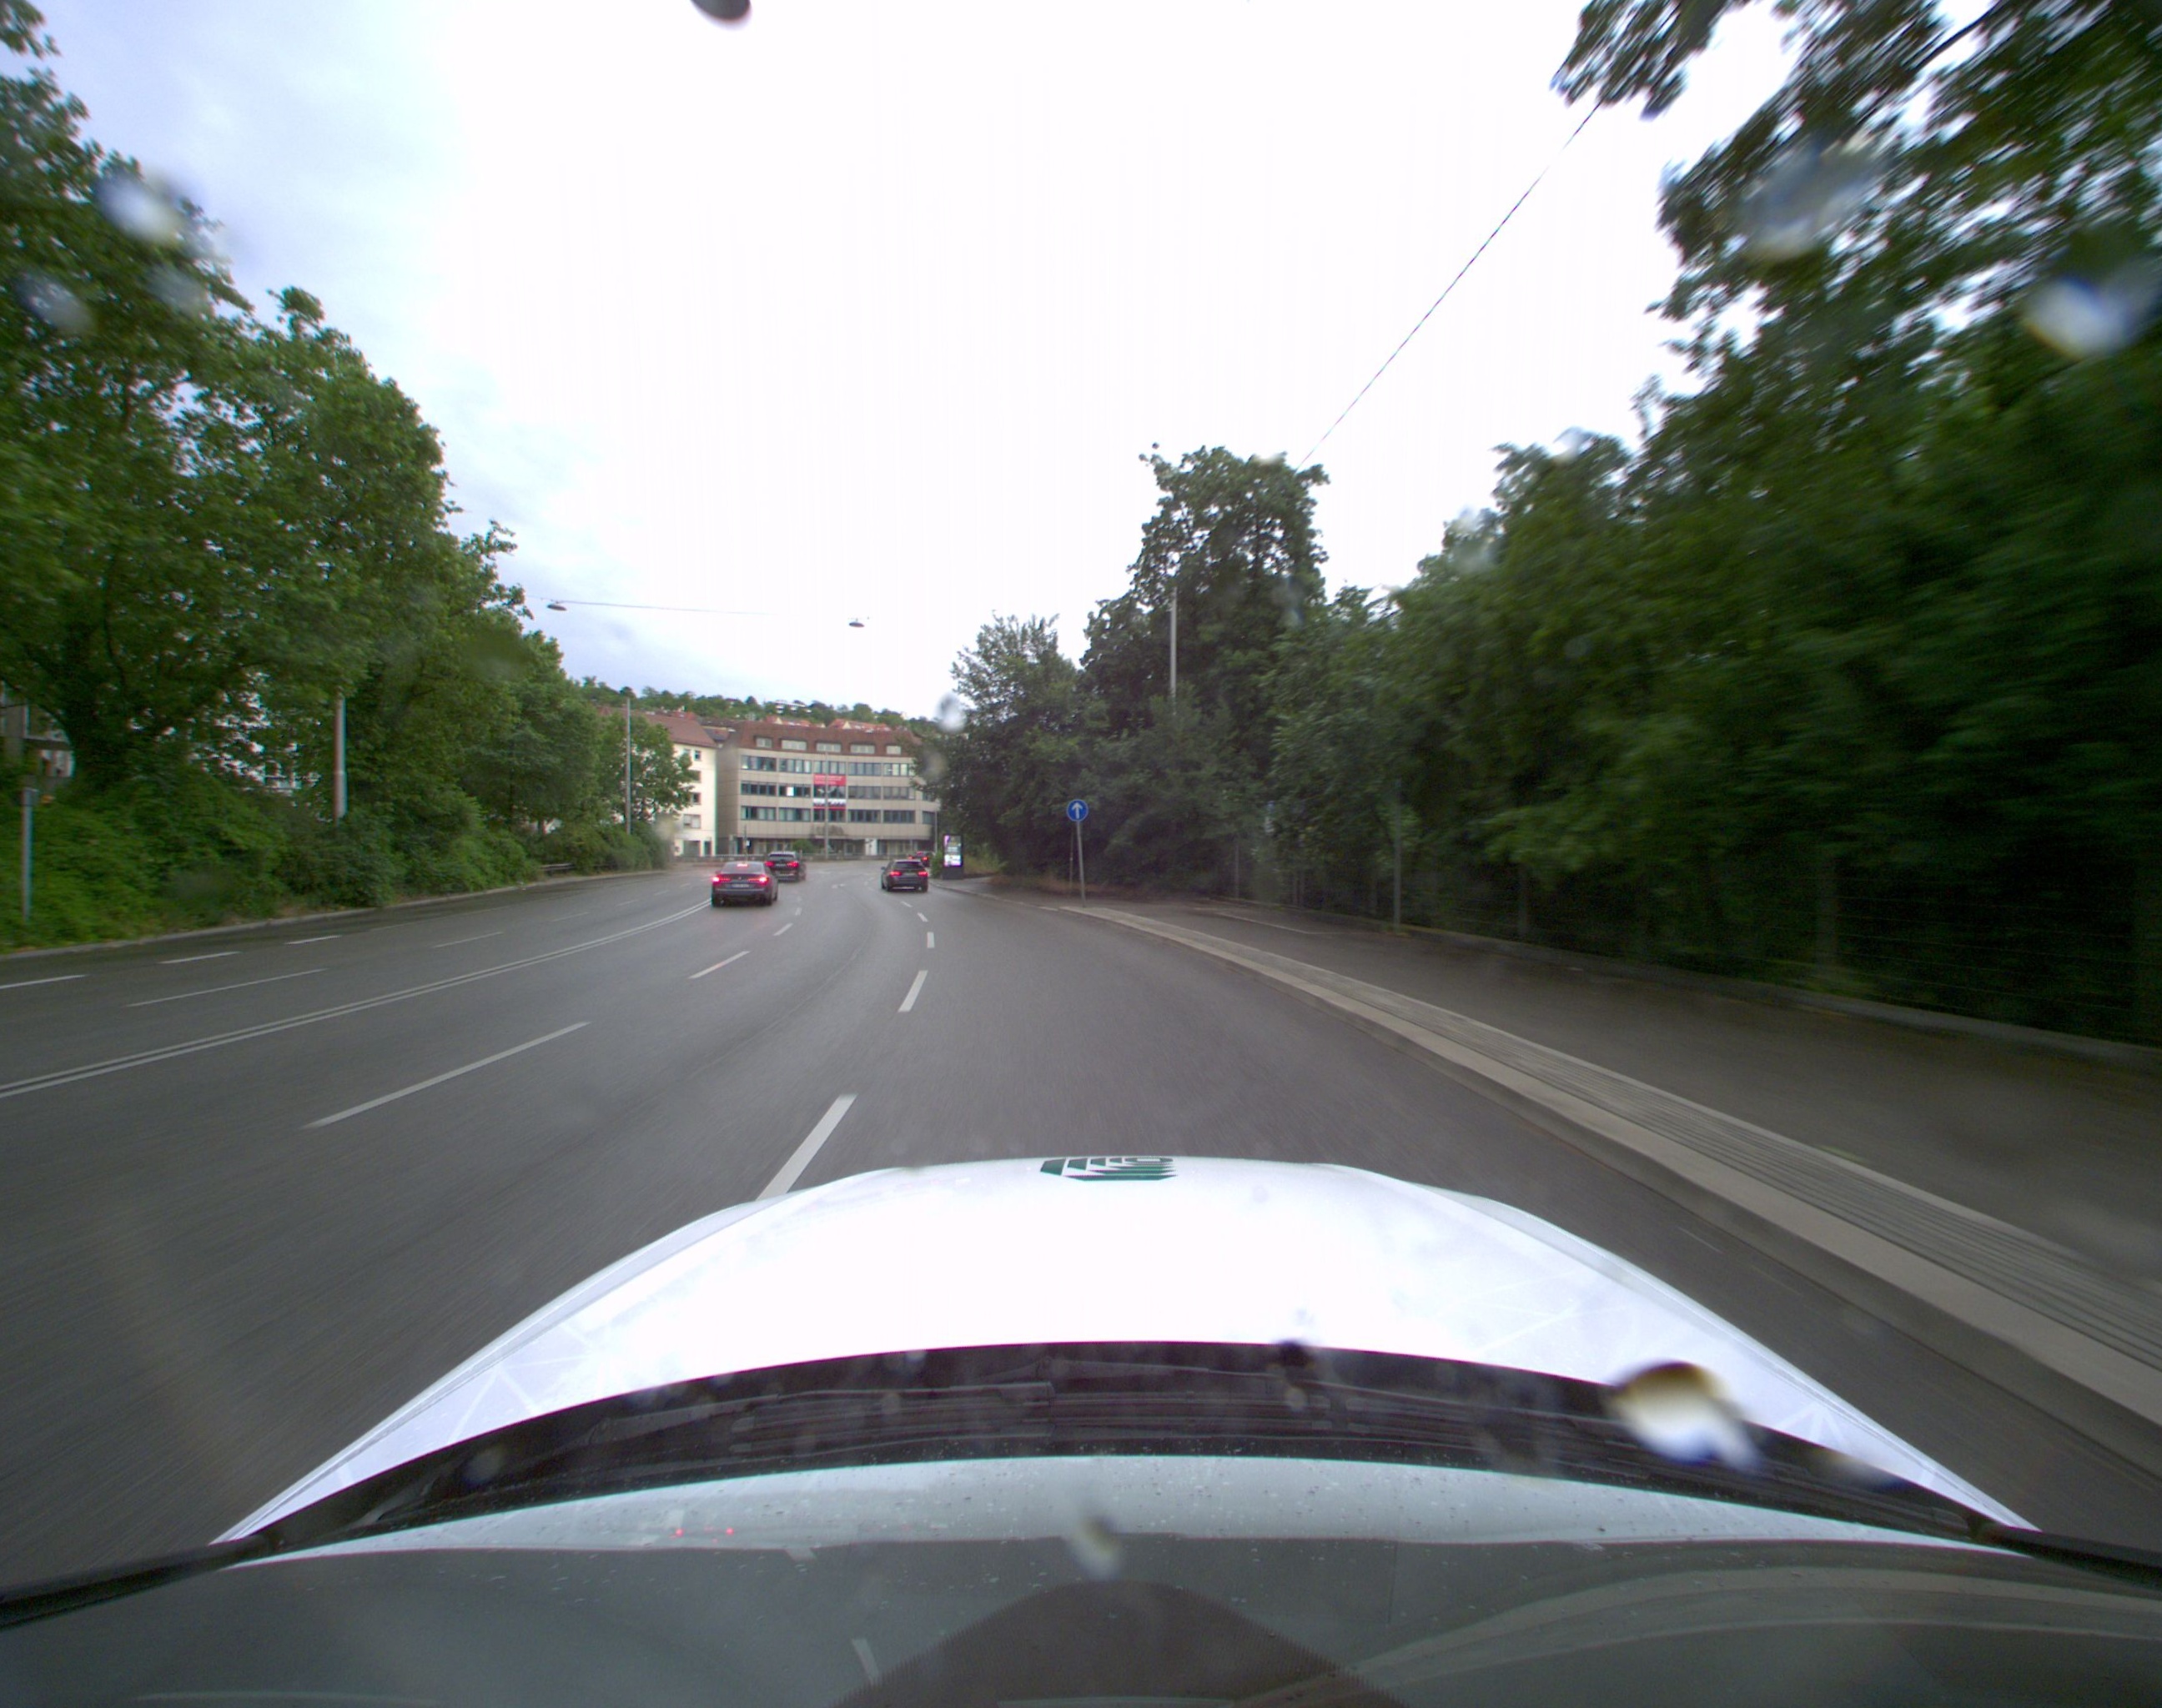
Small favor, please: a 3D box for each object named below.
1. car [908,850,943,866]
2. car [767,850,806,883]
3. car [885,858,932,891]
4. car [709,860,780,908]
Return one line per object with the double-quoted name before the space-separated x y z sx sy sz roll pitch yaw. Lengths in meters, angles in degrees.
"car" -14.228 0.309 74.724 1.781 1.426 4.624 0 0 8
"car" -16.108 0.672 44.644 1.906 1.693 3.974 0 -1 -19
"car" -7.942 0.905 37.339 1.961 1.426 4.106 -1 -1 -13
"car" -11.129 0.939 27.188 1.795 1.426 4.359 -1 -1 -17
